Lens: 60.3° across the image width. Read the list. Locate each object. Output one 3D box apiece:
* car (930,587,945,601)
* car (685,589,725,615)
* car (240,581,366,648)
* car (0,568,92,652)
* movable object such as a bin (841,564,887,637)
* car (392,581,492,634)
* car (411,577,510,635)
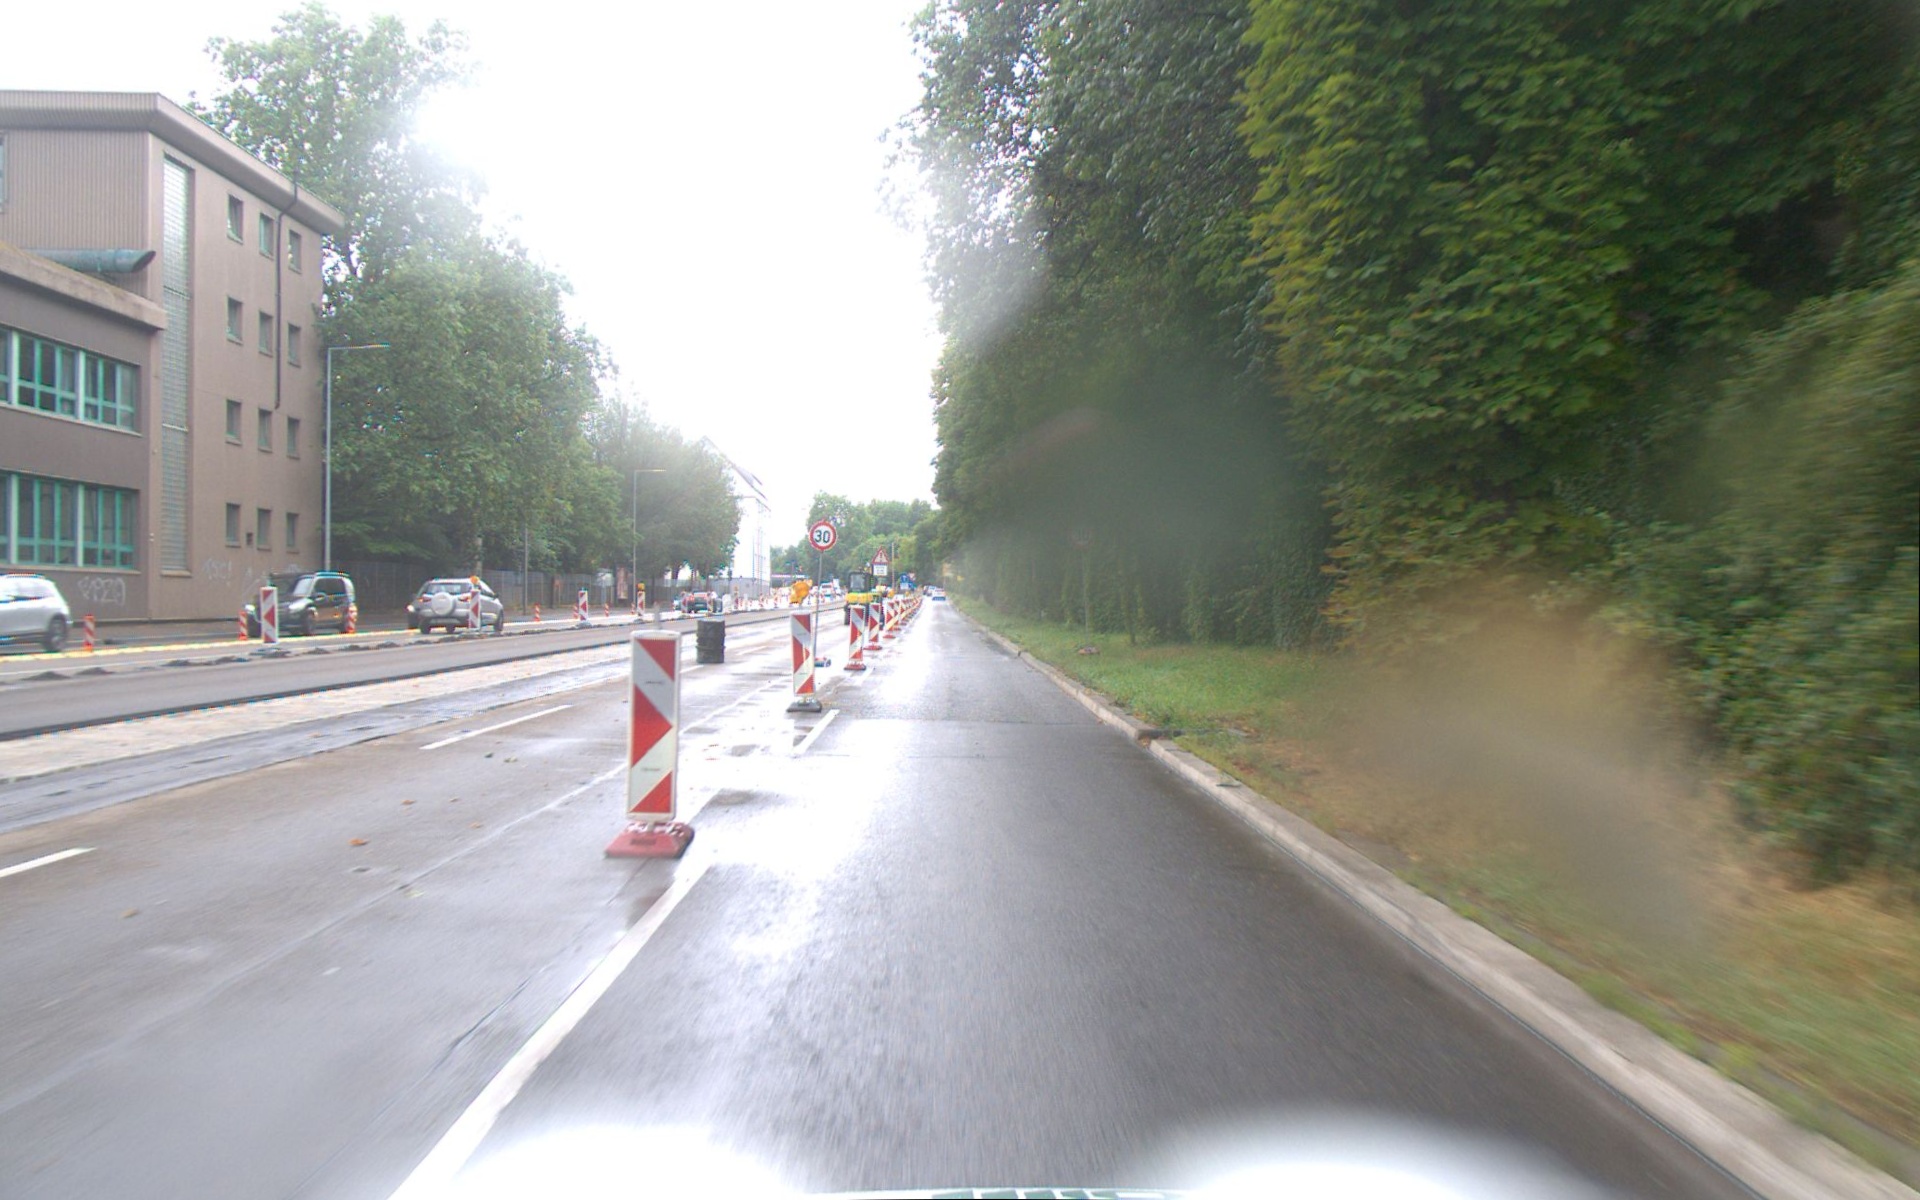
[{"bbox_3d":[-2.921,-0.759,215.882,1.953,1.702,3.999,1,-1,-1],"label":"car"},{"bbox_3d":[-15.977,0.147,103.834,1.953,1.545,3.999,1,-1,-1],"label":"car"},{"bbox_3d":[-20.705,0.460,52.398,1.953,1.952,5.361,1,-1,-2],"label":"car"},{"bbox_3d":[-20.778,0.197,35.384,1.899,1.736,4.933,1,-1,-2],"label":"car"},{"bbox_3d":[-4.699,0.072,81.631,1.953,3.426,5.981,1,-1,-1],"label":"movable object such as a bin"},{"bbox_3d":[-18.810,0.298,60.287,1.952,1.811,4.954,1,-1,1],"label":"car"},{"bbox_3d":[-15.103,0.191,50.251,1.817,1.677,3.999,1,-1,-1],"label":"car"}]
